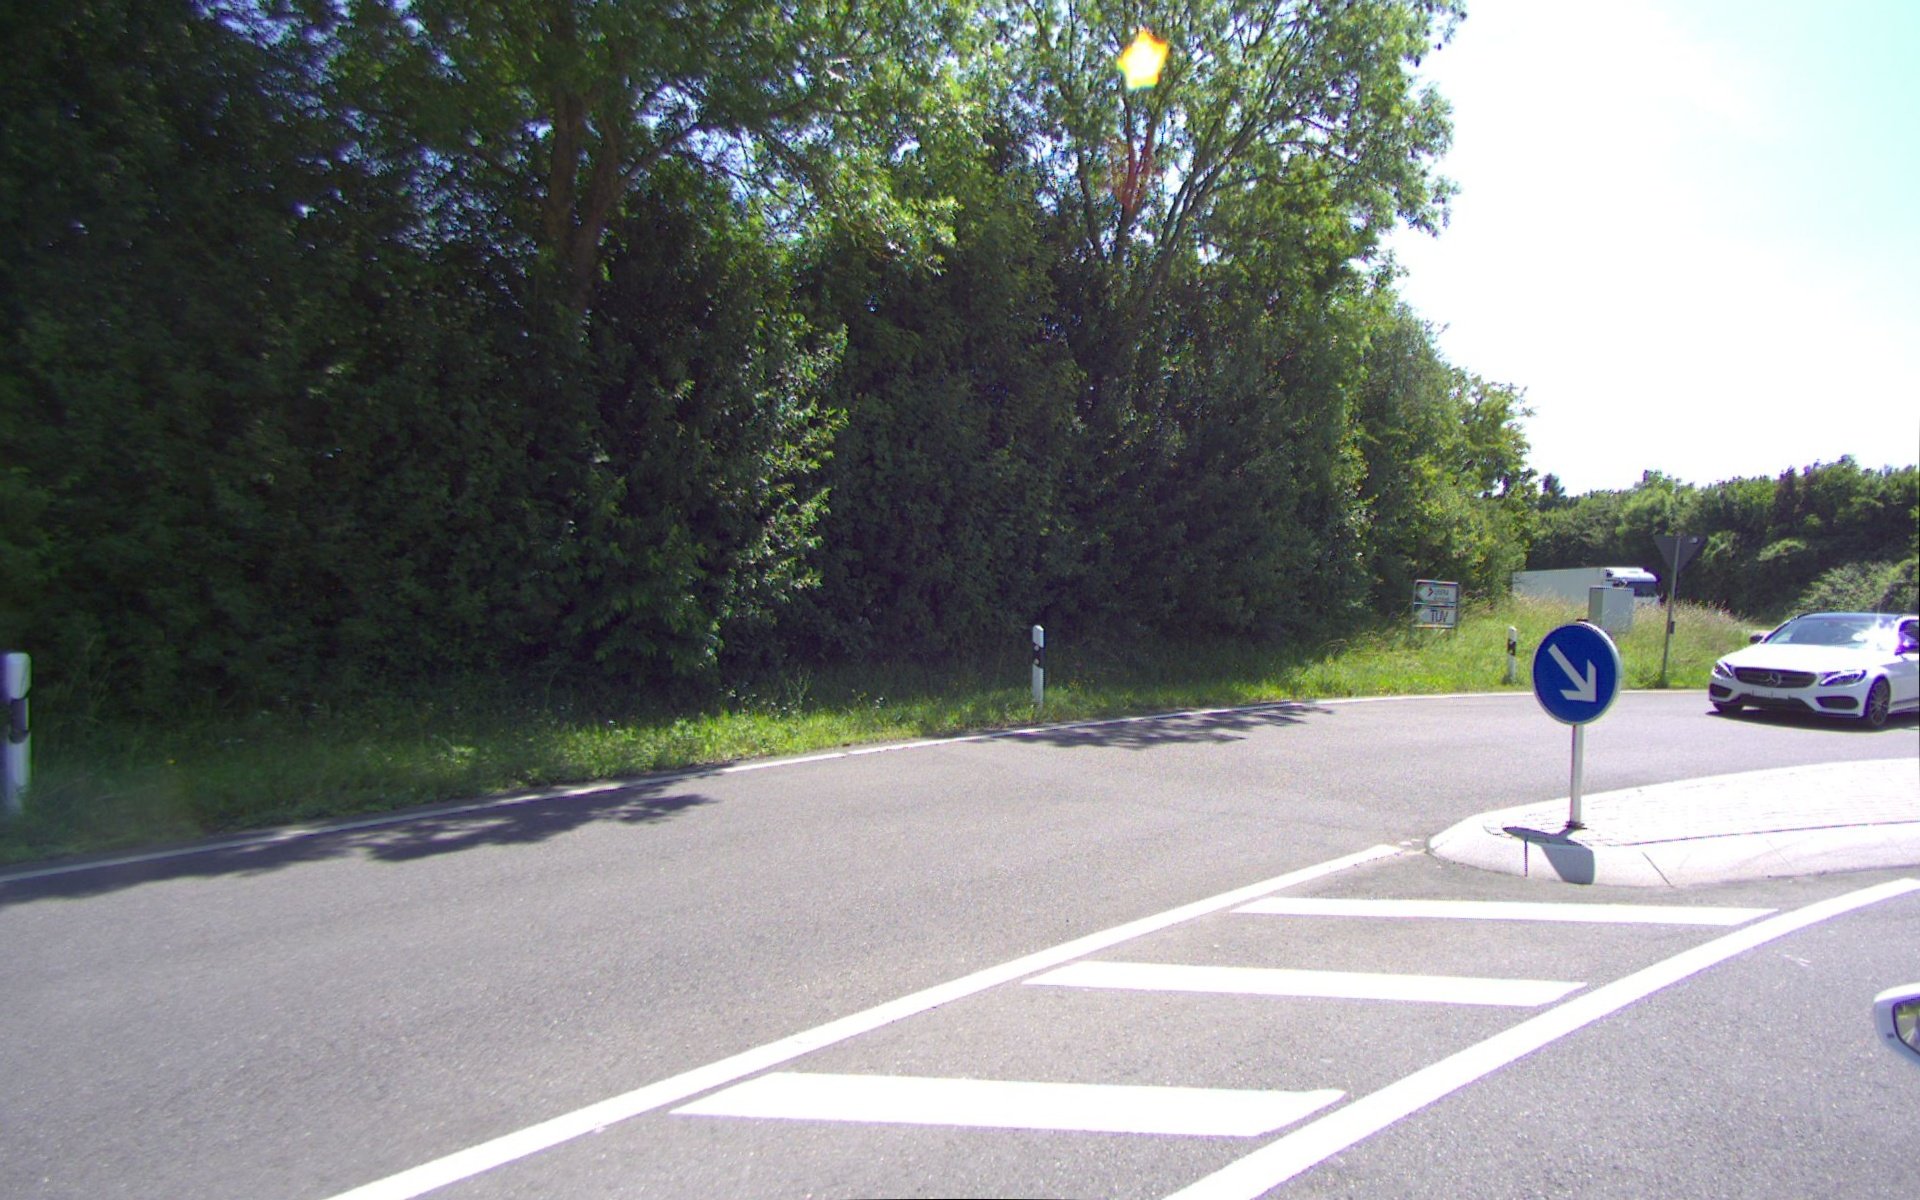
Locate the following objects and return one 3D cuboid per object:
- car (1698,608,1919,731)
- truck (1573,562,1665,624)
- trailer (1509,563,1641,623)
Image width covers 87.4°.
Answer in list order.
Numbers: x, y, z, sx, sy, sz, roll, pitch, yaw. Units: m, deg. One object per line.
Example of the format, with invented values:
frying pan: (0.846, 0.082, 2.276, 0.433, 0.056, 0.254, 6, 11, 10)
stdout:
car: (13.068, 0.909, 14.582, 5.271, 1.431, 1.795, 1, 2, -30)
truck: (45.701, -0.510, 69.868, 2.607, 4.090, 6.283, 1, 1, 5)
trailer: (46.284, -0.593, 76.334, 2.607, 4.091, 13.842, 1, 1, 5)
